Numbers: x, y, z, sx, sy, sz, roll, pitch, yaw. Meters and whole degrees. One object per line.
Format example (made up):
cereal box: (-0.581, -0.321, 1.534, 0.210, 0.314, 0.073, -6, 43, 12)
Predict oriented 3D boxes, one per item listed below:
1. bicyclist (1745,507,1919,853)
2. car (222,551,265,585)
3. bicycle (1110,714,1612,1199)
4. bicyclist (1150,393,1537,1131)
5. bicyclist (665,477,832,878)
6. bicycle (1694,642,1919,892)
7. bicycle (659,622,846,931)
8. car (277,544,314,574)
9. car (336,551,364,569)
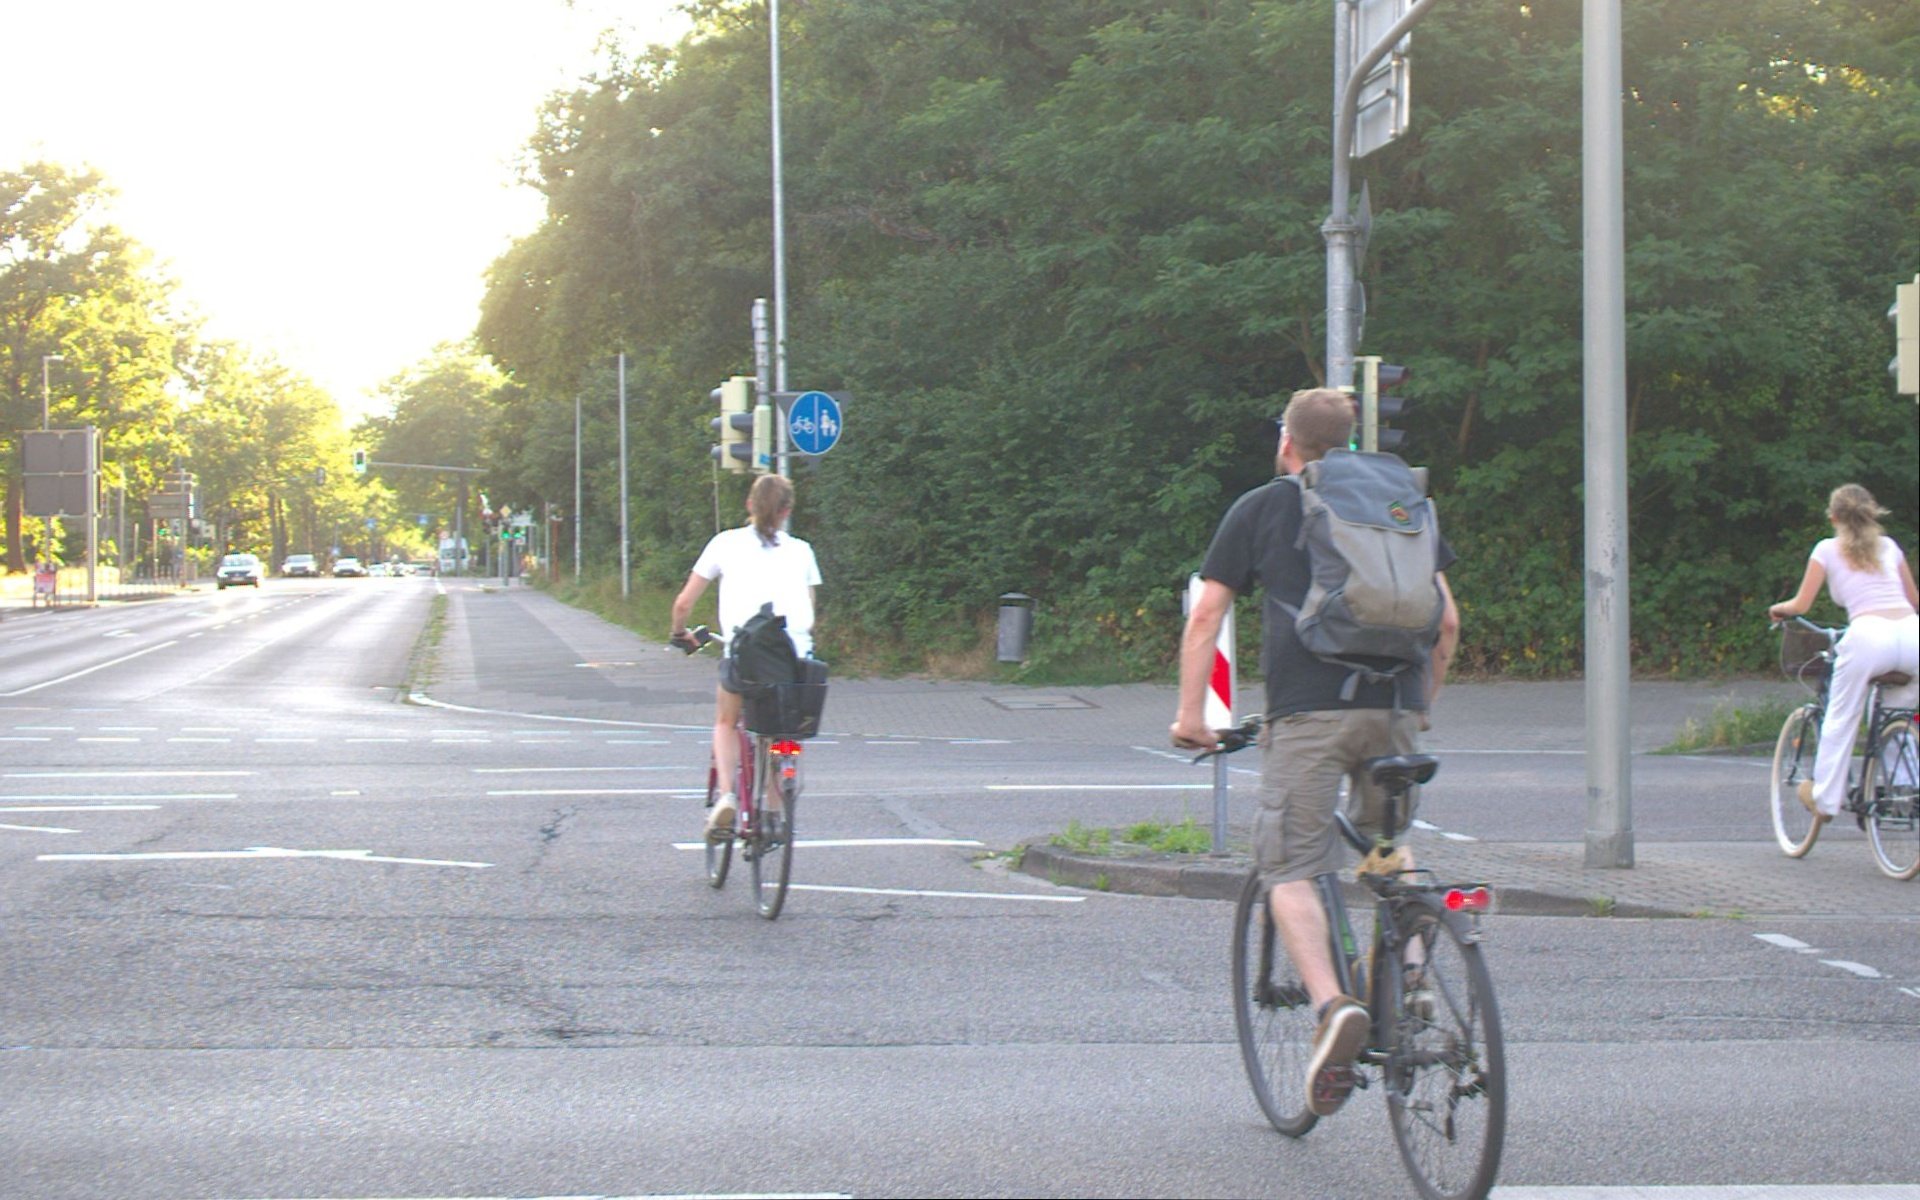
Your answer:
bicyclist: (4.064, 0.345, 15.503, 0.759, 1.512, 0.857, 0, 1, -7)
car: (-30.688, -1.382, 147.267, 1.769, 1.469, 3.777, 0, 1, -12)
bicycle: (0.892, 0.844, 8.174, 0.698, 1.059, 1.826, 1, 1, -9)
bicyclist: (0.894, 0.365, 8.182, 0.698, 1.661, 0.798, 1, 0, -9)
bicyclist: (-0.875, 0.304, 14.054, 0.603, 1.580, 0.910, 1, 1, -8)
bicycle: (4.051, 0.723, 15.606, 0.771, 1.003, 2.017, 0, 1, -7)
bicycle: (-0.874, 0.682, 14.086, 0.613, 1.134, 1.885, 1, 1, -8)
car: (-36.983, -2.298, 191.333, 1.993, 1.634, 4.001, 0, 1, -11)
car: (-44.121, -2.901, 248.631, 1.993, 1.262, 4.001, 0, 1, -10)
